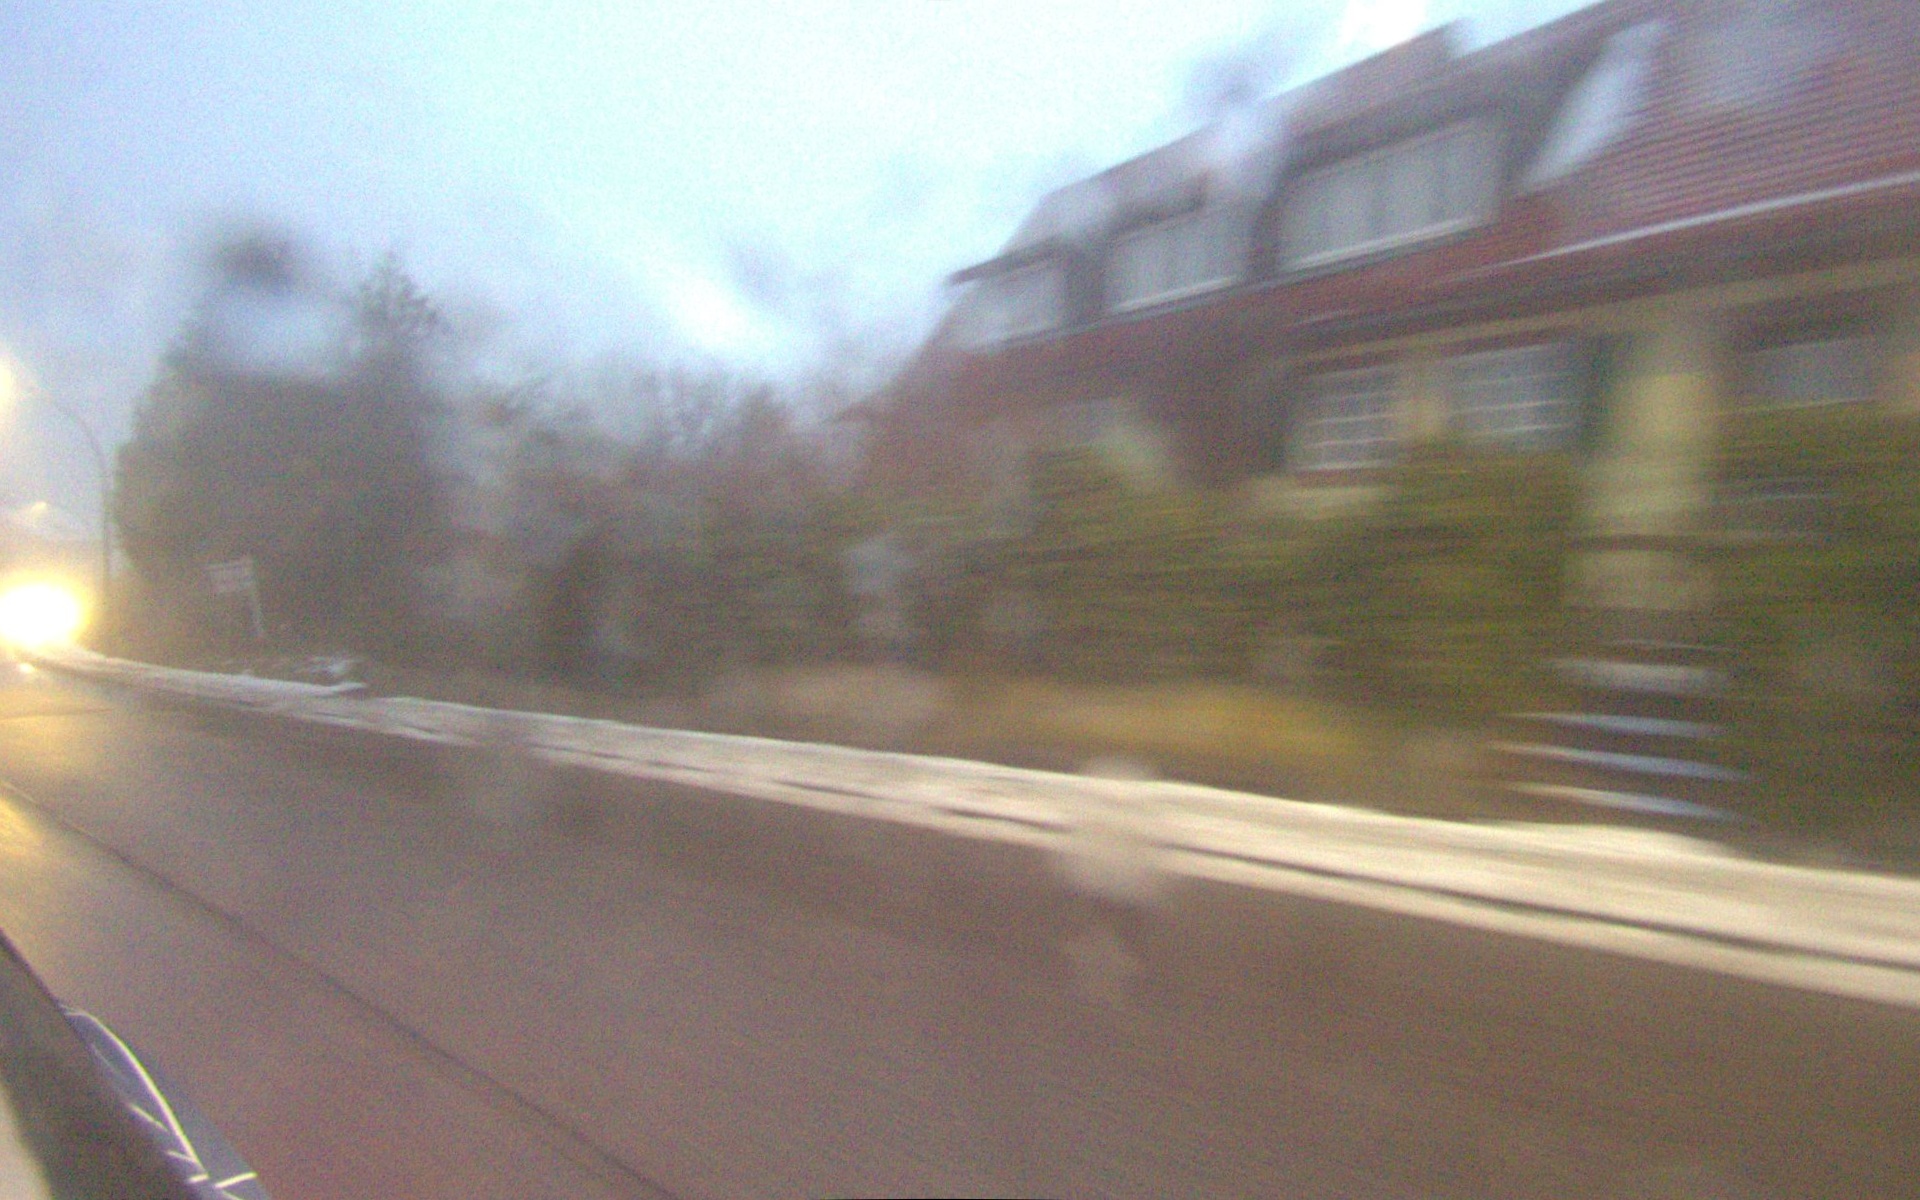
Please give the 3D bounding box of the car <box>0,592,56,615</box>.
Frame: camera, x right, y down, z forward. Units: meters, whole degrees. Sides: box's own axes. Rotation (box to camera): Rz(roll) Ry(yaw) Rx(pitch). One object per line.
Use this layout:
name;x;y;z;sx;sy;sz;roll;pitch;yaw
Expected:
car;-85.852;0.293;92.635;4.148;1.872;1.917;2;1;-16
